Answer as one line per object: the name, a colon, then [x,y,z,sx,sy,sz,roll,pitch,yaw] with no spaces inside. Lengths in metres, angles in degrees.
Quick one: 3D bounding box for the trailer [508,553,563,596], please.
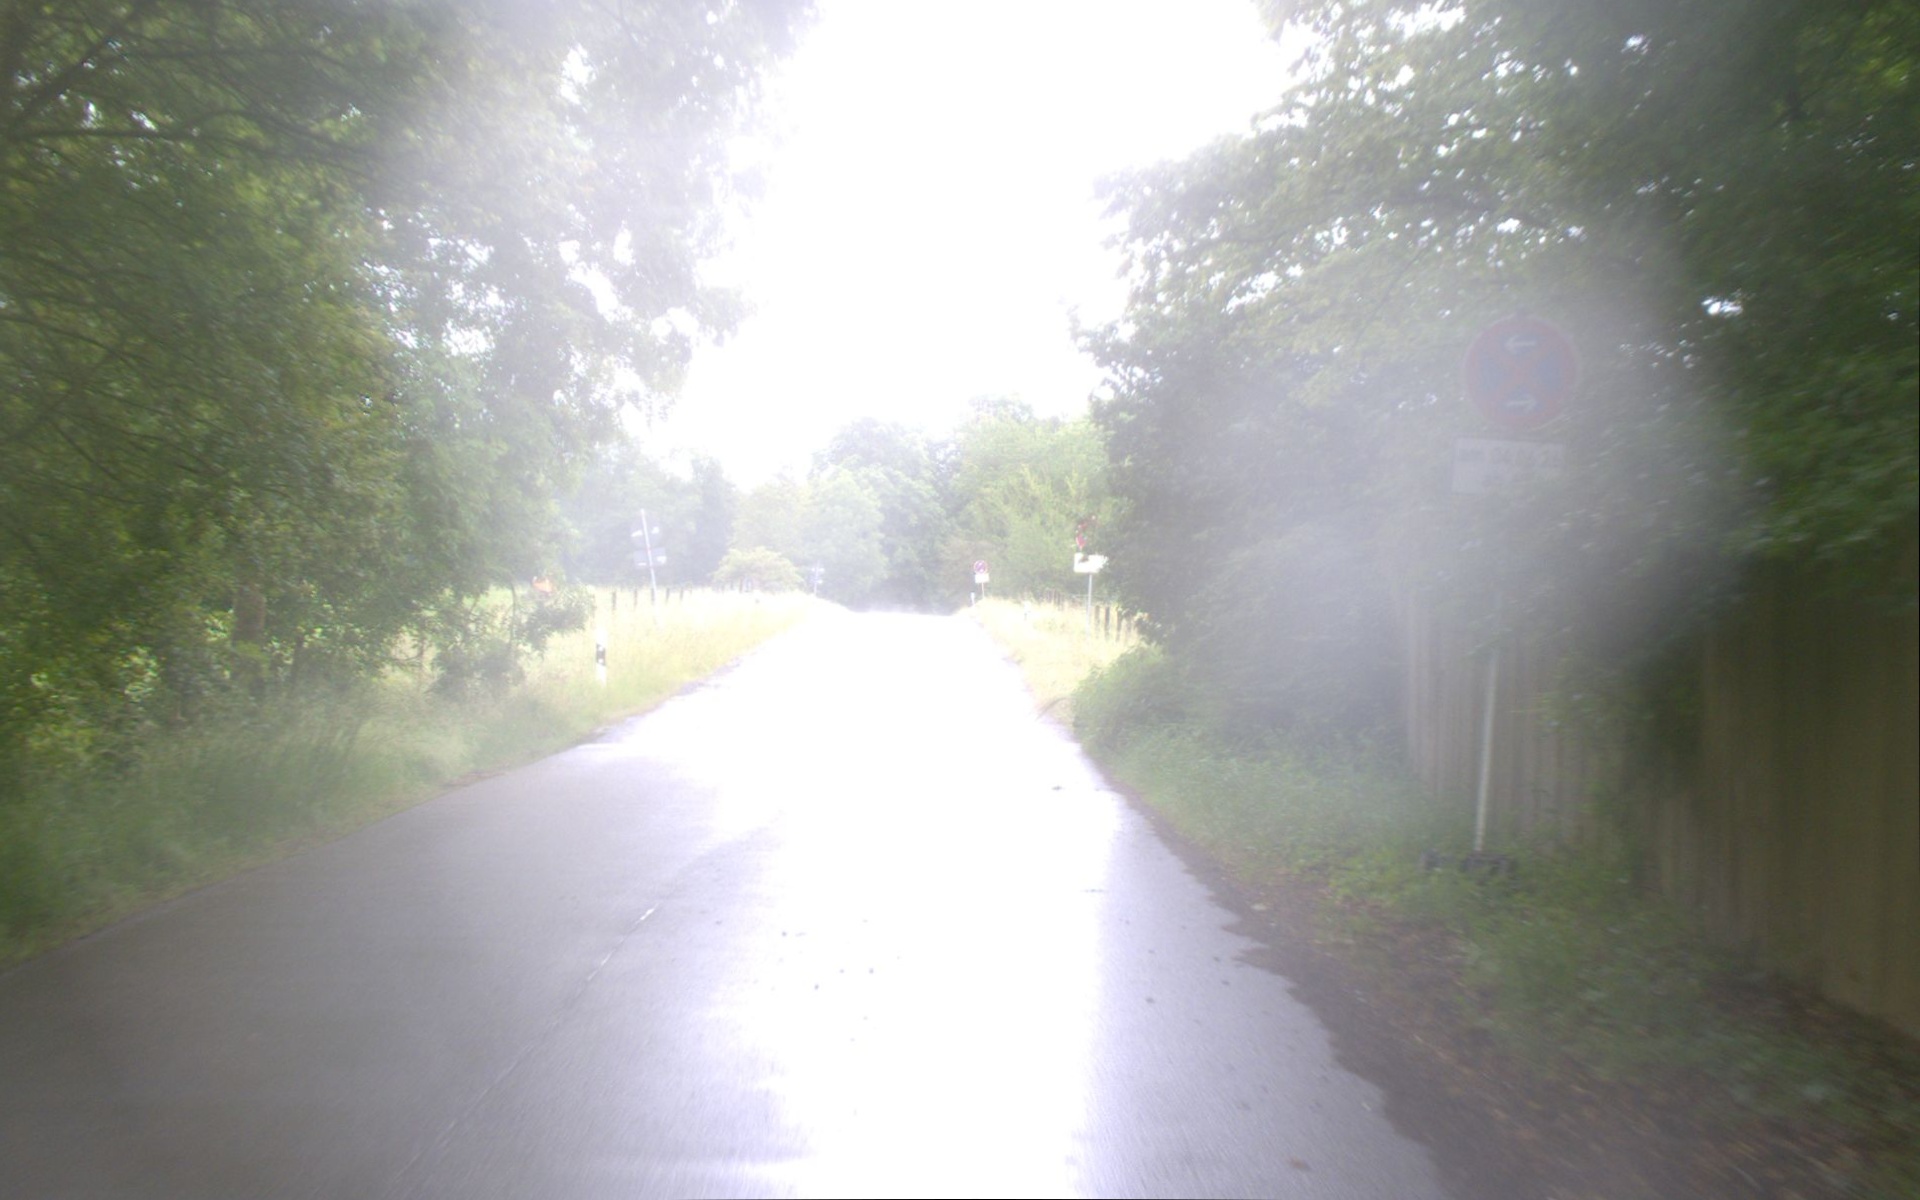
trailer: [-15.375,-0.931,124.375,1.751,1.499,3.091,1,0,-11]
